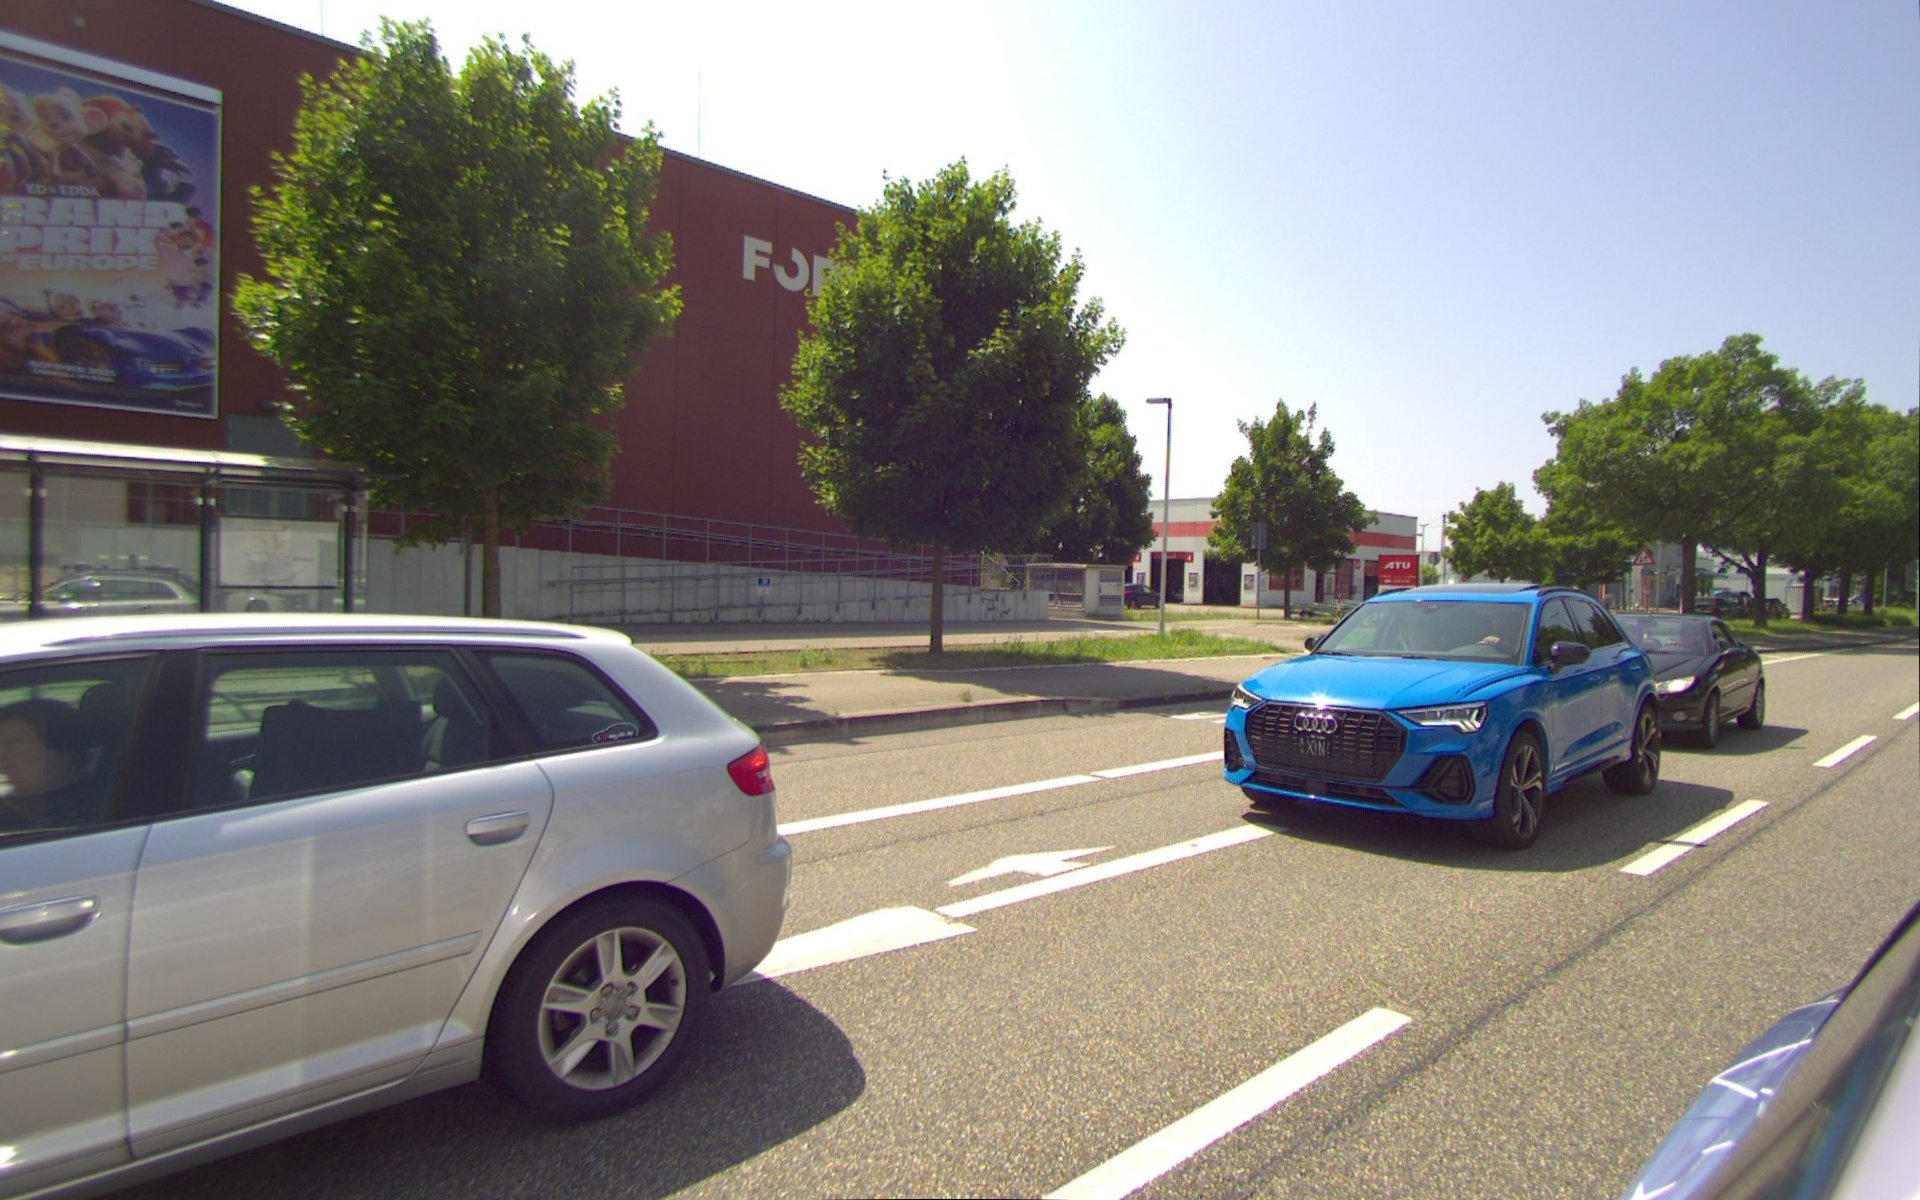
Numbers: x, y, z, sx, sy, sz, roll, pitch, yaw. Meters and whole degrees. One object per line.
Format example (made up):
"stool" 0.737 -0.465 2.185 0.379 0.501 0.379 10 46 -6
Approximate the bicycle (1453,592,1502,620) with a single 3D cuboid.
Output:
"bicycle" 22.276 0.232 43.603 1.779 1.138 0.506 3 1 43

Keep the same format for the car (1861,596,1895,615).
"car" 79.960 0.475 88.127 3.930 1.485 1.719 0 2 -41

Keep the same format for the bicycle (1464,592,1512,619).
"bicycle" 23.329 0.241 44.714 1.779 1.138 0.506 3 1 43

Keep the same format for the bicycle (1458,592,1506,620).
"bicycle" 22.743 0.250 44.143 1.779 1.138 0.506 3 1 43

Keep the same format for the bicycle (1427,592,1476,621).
"bicycle" 20.631 0.251 42.484 1.779 1.138 0.506 3 1 43

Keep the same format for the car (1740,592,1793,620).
"car" 47.282 0.323 59.321 3.930 1.539 1.719 0 2 -41

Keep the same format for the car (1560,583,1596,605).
"car" 48.310 -0.471 79.103 1.753 1.616 3.940 2 2 42

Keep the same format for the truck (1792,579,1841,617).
"truck" 60.277 -0.147 71.203 3.929 2.599 1.904 0 1 -40

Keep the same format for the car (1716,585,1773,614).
"car" 43.443 -0.041 55.999 3.930 1.485 1.719 0 2 -41

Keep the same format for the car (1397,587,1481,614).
"car" 27.329 0.002 57.790 1.718 1.419 3.992 0 2 -43

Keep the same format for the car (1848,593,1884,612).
"car" 75.260 0.180 84.065 3.930 1.485 1.719 0 2 -41

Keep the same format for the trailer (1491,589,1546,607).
"trailer" 34.857 -0.130 63.162 1.552 1.065 2.638 0 2 -43

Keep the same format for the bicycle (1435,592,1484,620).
"bicycle" 21.145 0.237 42.830 1.779 1.138 0.506 3 1 43

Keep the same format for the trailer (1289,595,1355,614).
"trailer" 16.366 0.188 45.805 1.423 0.771 2.467 0 2 -39

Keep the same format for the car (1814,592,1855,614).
"car" 64.691 0.223 74.853 3.930 1.485 1.719 0 2 -41

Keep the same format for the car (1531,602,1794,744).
"car" 8.175 0.713 11.653 3.931 1.361 1.640 0 -1 -42

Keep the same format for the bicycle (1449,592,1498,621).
"bicycle" 21.867 0.272 43.112 1.779 1.138 0.506 3 1 43

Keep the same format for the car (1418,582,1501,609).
"car" 29.121 -0.297 59.073 1.718 1.419 3.991 0 2 -44

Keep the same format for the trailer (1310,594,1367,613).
"trailer" 17.620 0.163 47.161 1.244 0.771 2.137 0 2 -39

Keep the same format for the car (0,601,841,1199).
"car" -2.441 0.697 2.635 4.022 1.379 1.714 0 0 -43

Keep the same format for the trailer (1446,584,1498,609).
"trailer" 32.958 -0.240 65.138 1.391 1.546 2.638 0 2 -43

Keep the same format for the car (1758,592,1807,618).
"car" 51.658 0.293 63.538 3.930 1.532 1.719 0 2 -41

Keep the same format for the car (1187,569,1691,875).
"car" 3.729 0.624 7.480 4.324 1.616 1.840 0 1 -42

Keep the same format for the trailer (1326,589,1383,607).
"trailer" 18.822 -0.089 48.298 1.369 0.771 2.137 0 2 -39

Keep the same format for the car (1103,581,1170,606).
"car" 10.440 -0.360 59.647 4.074 1.390 1.716 0 2 -42

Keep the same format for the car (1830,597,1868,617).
"car" 69.655 0.549 79.264 3.930 1.485 1.719 0 2 -41

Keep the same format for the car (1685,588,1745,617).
"car" 38.820 0.103 51.986 3.930 1.388 1.641 0 2 -41

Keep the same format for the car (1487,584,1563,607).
"car" 36.397 -0.287 65.256 1.662 1.317 3.991 0 2 -44

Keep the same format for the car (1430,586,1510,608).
"car" 30.641 -0.188 60.872 1.718 1.223 3.991 0 2 -44
